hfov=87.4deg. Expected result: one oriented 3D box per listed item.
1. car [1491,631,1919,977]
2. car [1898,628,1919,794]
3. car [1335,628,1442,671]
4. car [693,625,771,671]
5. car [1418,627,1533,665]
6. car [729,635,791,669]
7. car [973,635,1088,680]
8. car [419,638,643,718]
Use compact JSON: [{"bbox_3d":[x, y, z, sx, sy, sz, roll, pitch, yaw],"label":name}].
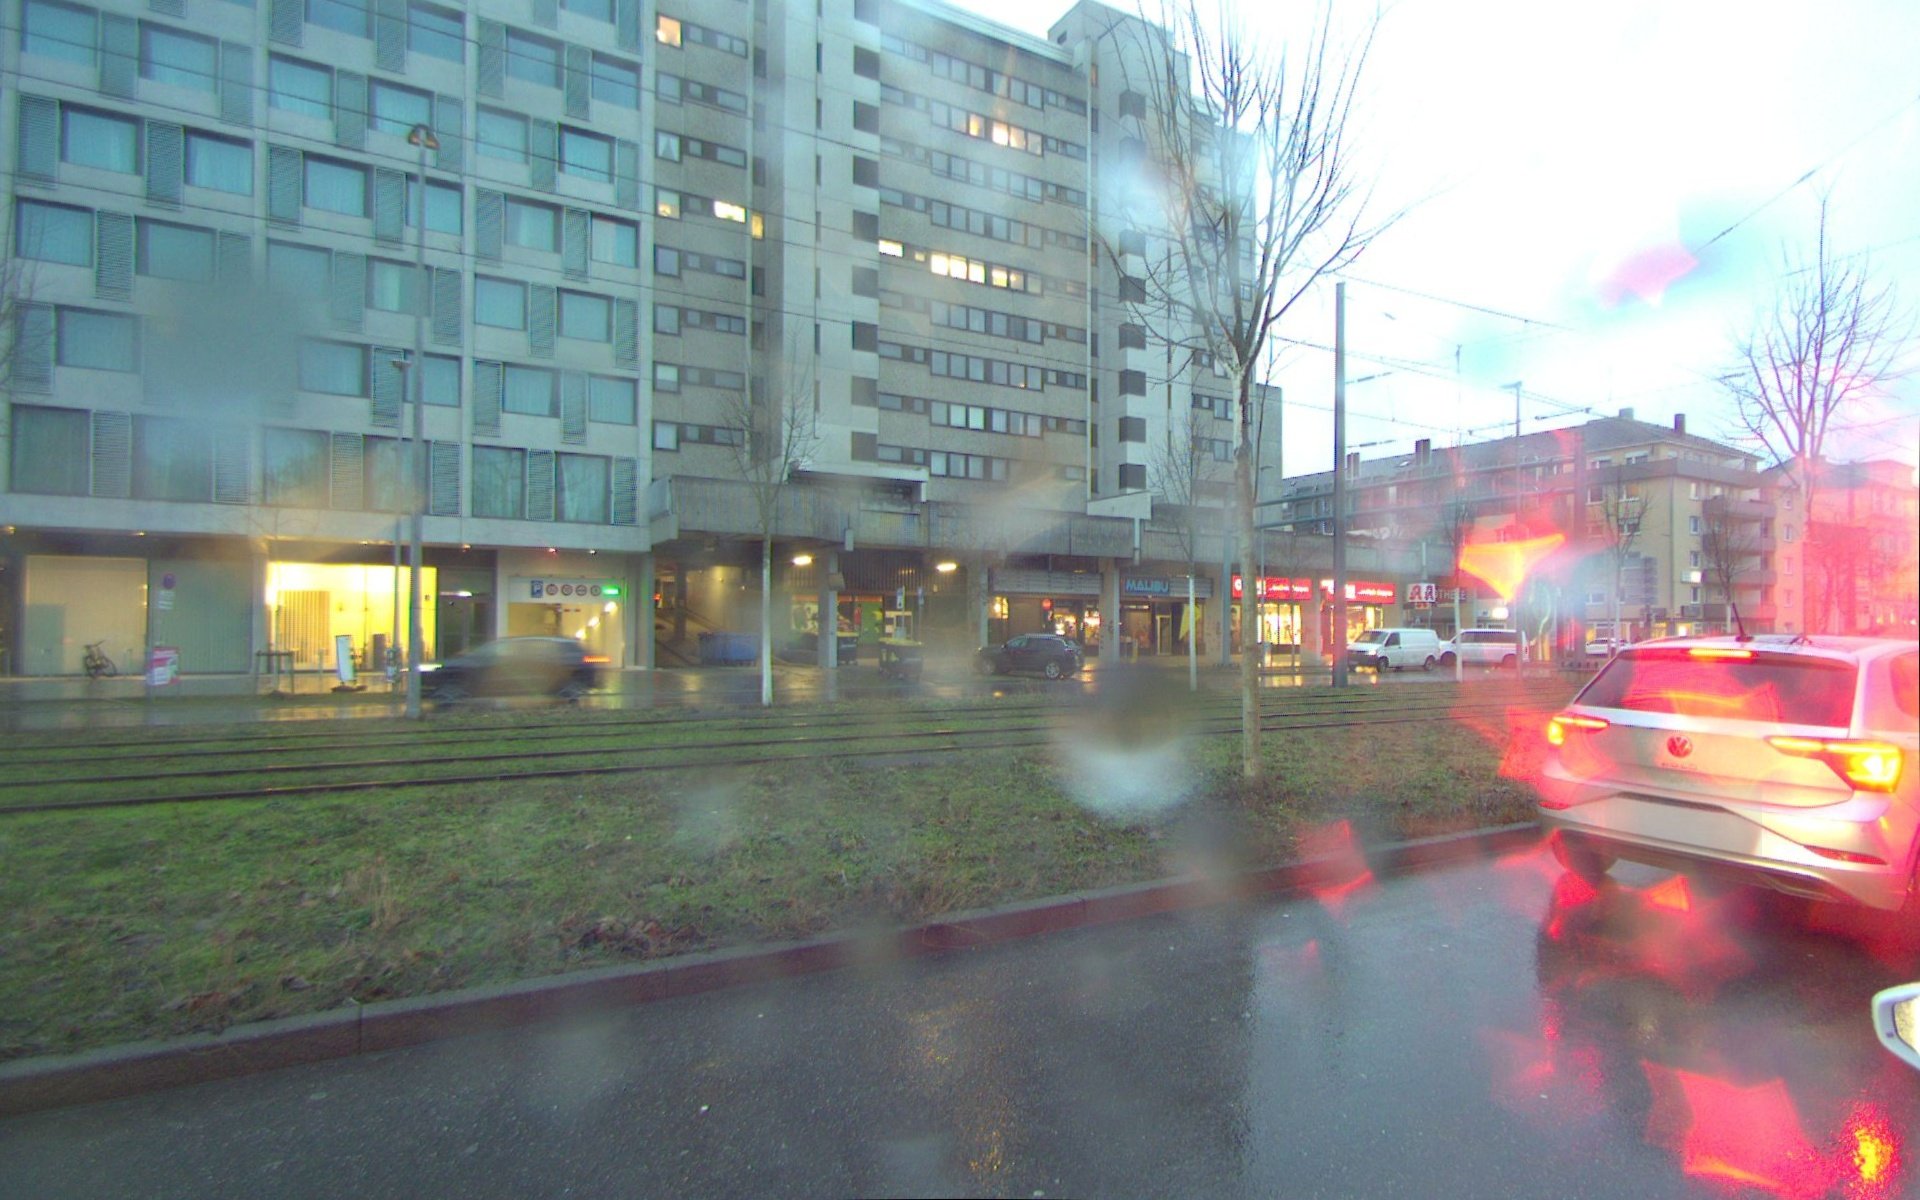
[{"bbox_3d":[5.132,0.918,5.958,3.936,1.389,1.753,2,-1,-31],"label":"car"},{"bbox_3d":[10.590,1.016,9.159,4.562,1.424,1.837,2,-1,-31],"label":"car"},{"bbox_3d":[20.241,2.323,47.398,5.101,1.937,1.985,1,-2,-30],"label":"car"},{"bbox_3d":[-9.127,1.857,40.055,1.709,1.718,4.336,1,-2,-32],"label":"car"},{"bbox_3d":[27.066,2.416,52.897,5.059,1.937,2.001,0,-2,15],"label":"car"},{"bbox_3d":[-8.743,2.226,43.766,1.580,1.377,3.411,1,-2,-32],"label":"car"},{"bbox_3d":[2.713,2.170,38.483,3.925,1.405,1.935,2,0,25],"label":"car"},{"bbox_3d":[-9.806,1.703,23.055,4.526,1.655,1.887,1,-2,-30],"label":"car"}]
